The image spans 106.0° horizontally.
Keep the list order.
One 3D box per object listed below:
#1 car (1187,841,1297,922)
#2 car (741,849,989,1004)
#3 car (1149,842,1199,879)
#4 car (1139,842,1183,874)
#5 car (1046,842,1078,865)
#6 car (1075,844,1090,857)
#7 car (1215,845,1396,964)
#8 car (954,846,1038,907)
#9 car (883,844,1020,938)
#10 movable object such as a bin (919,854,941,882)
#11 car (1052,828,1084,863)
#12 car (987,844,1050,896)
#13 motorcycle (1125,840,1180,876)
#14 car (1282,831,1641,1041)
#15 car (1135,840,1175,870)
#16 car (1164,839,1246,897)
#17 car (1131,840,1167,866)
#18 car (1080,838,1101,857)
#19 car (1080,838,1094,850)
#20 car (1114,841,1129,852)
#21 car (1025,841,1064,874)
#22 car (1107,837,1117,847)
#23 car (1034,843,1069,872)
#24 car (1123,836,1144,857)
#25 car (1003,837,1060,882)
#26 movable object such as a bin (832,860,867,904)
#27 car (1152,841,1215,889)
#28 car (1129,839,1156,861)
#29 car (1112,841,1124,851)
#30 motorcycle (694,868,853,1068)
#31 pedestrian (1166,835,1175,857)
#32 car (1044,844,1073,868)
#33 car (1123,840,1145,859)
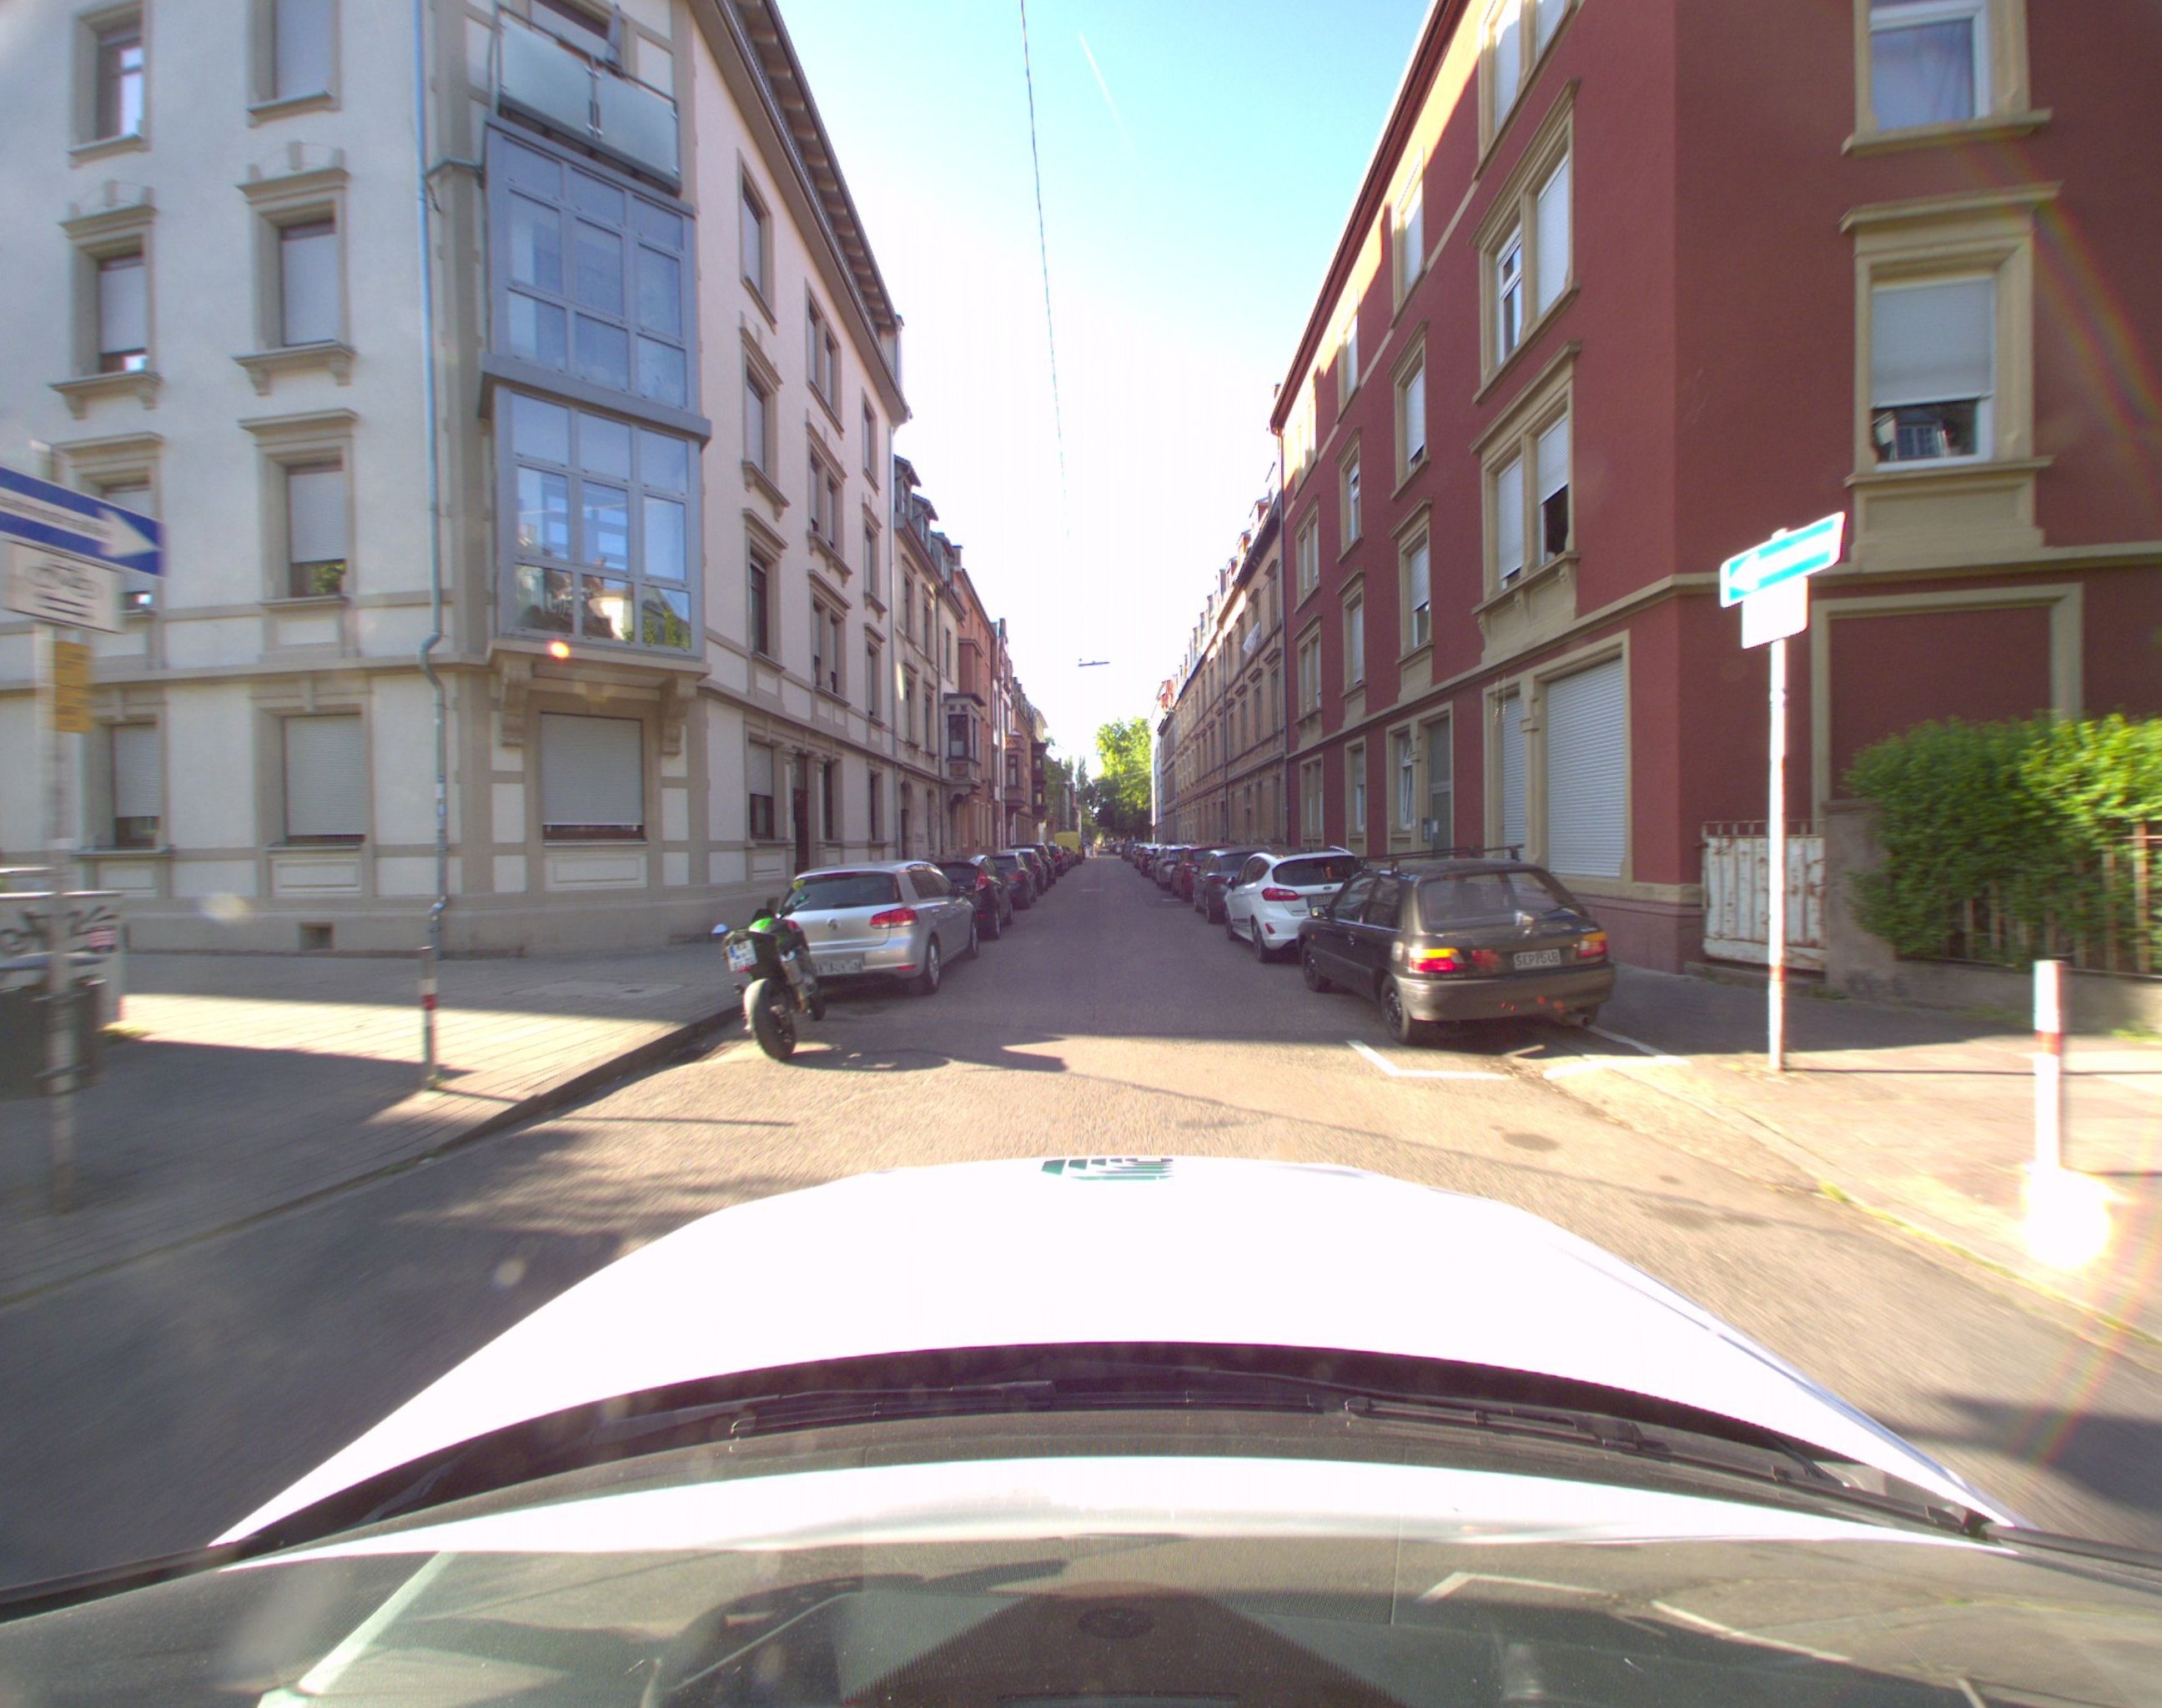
[{"bbox_3d":[3.294,0.486,17.347,1.670,1.503,4.071,0,1,2],"label":"car"},{"bbox_3d":[-2.369,0.711,10.041,1.773,1.483,3.936,0,1,4],"label":"car"},{"bbox_3d":[3.722,0.219,33.111,1.685,1.406,3.994,-1,1,2],"label":"car"},{"bbox_3d":[3.741,0.150,38.669,1.770,1.396,4.320,0,1,2],"label":"car"},{"bbox_3d":[-1.254,-0.072,56.564,1.711,1.412,3.902,-5,1,4],"label":"car"},{"bbox_3d":[0.261,-0.540,117.082,1.874,1.707,4.002,-2,0,2],"label":"car"},{"bbox_3d":[3.134,0.607,12.162,1.699,1.462,3.971,0,1,1],"label":"car"},{"bbox_3d":[-2.102,0.509,21.096,1.775,1.403,3.742,0,1,0],"label":"car"},{"bbox_3d":[-2.209,0.572,14.887,1.774,1.483,3.745,0,1,2],"label":"car"},{"bbox_3d":[-5.091,0.462,27.502,0.610,0.920,0.734,0,1,1],"label":"movable object such as a bin"},{"bbox_3d":[-0.926,-0.683,63.230,2.167,2.507,5.879,-3,1,1],"label":"car"},{"bbox_3d":[-1.932,0.452,26.224,1.637,1.455,3.839,-3,1,0],"label":"car"},{"bbox_3d":[3.148,0.174,35.634,2.230,1.536,0.883,1,1,-25],"label":"motorcycle"},{"bbox_3d":[3.166,0.553,7.639,1.663,1.483,3.706,0,1,0],"label":"car"},{"bbox_3d":[4.037,0.001,44.918,1.720,1.417,4.093,-5,1,0],"label":"car"},{"bbox_3d":[3.389,0.324,22.993,1.654,1.479,4.023,-1,1,-1],"label":"car"},{"bbox_3d":[4.086,-0.088,49.663,1.748,1.446,4.068,-4,1,0],"label":"car"},{"bbox_3d":[0.907,-0.636,77.723,1.813,1.766,4.333,0,1,-1],"label":"car"},{"bbox_3d":[1.172,-1.856,154.936,2.300,2.114,5.173,-1,0,2],"label":"car"},{"bbox_3d":[5.478,-1.041,110.704,1.719,1.522,3.998,-1,1,-1],"label":"car"},{"bbox_3d":[-1.808,0.131,41.097,1.775,1.605,4.069,0,1,0],"label":"car"},{"bbox_3d":[6.955,-2.606,182.426,2.153,2.255,4.525,-1,0,0],"label":"car"},{"bbox_3d":[-1.640,0.147,46.443,1.688,1.474,3.921,-3,1,1],"label":"car"},{"bbox_3d":[4.898,-0.713,76.596,1.747,1.786,4.725,-3,1,1],"label":"car"},{"bbox_3d":[-1.832,0.151,31.407,1.754,1.617,4.191,0,1,2],"label":"car"},{"bbox_3d":[-5.166,0.626,18.188,0.619,0.955,0.511,1,0,1],"label":"movable object such as a bin"},{"bbox_3d":[3.432,0.303,28.049,1.755,1.483,4.404,-1,1,2],"label":"car"},{"bbox_3d":[4.892,-0.364,65.269,1.748,1.518,4.444,-5,1,0],"label":"car"},{"bbox_3d":[6.003,-1.291,131.988,1.888,1.625,4.000,0,0,0],"label":"car"},{"bbox_3d":[-2.502,0.841,6.899,0.675,1.334,1.997,-3,1,-5],"label":"motorcycle"},{"bbox_3d":[6.681,-0.592,60.844,0.650,1.630,0.882,-2,0,5],"label":"pedestrian"},{"bbox_3d":[-1.404,0.104,51.841,1.612,1.326,3.613,-3,1,0],"label":"car"},{"bbox_3d":[4.572,-0.416,71.164,1.746,1.452,4.291,-5,1,3],"label":"car"}]
